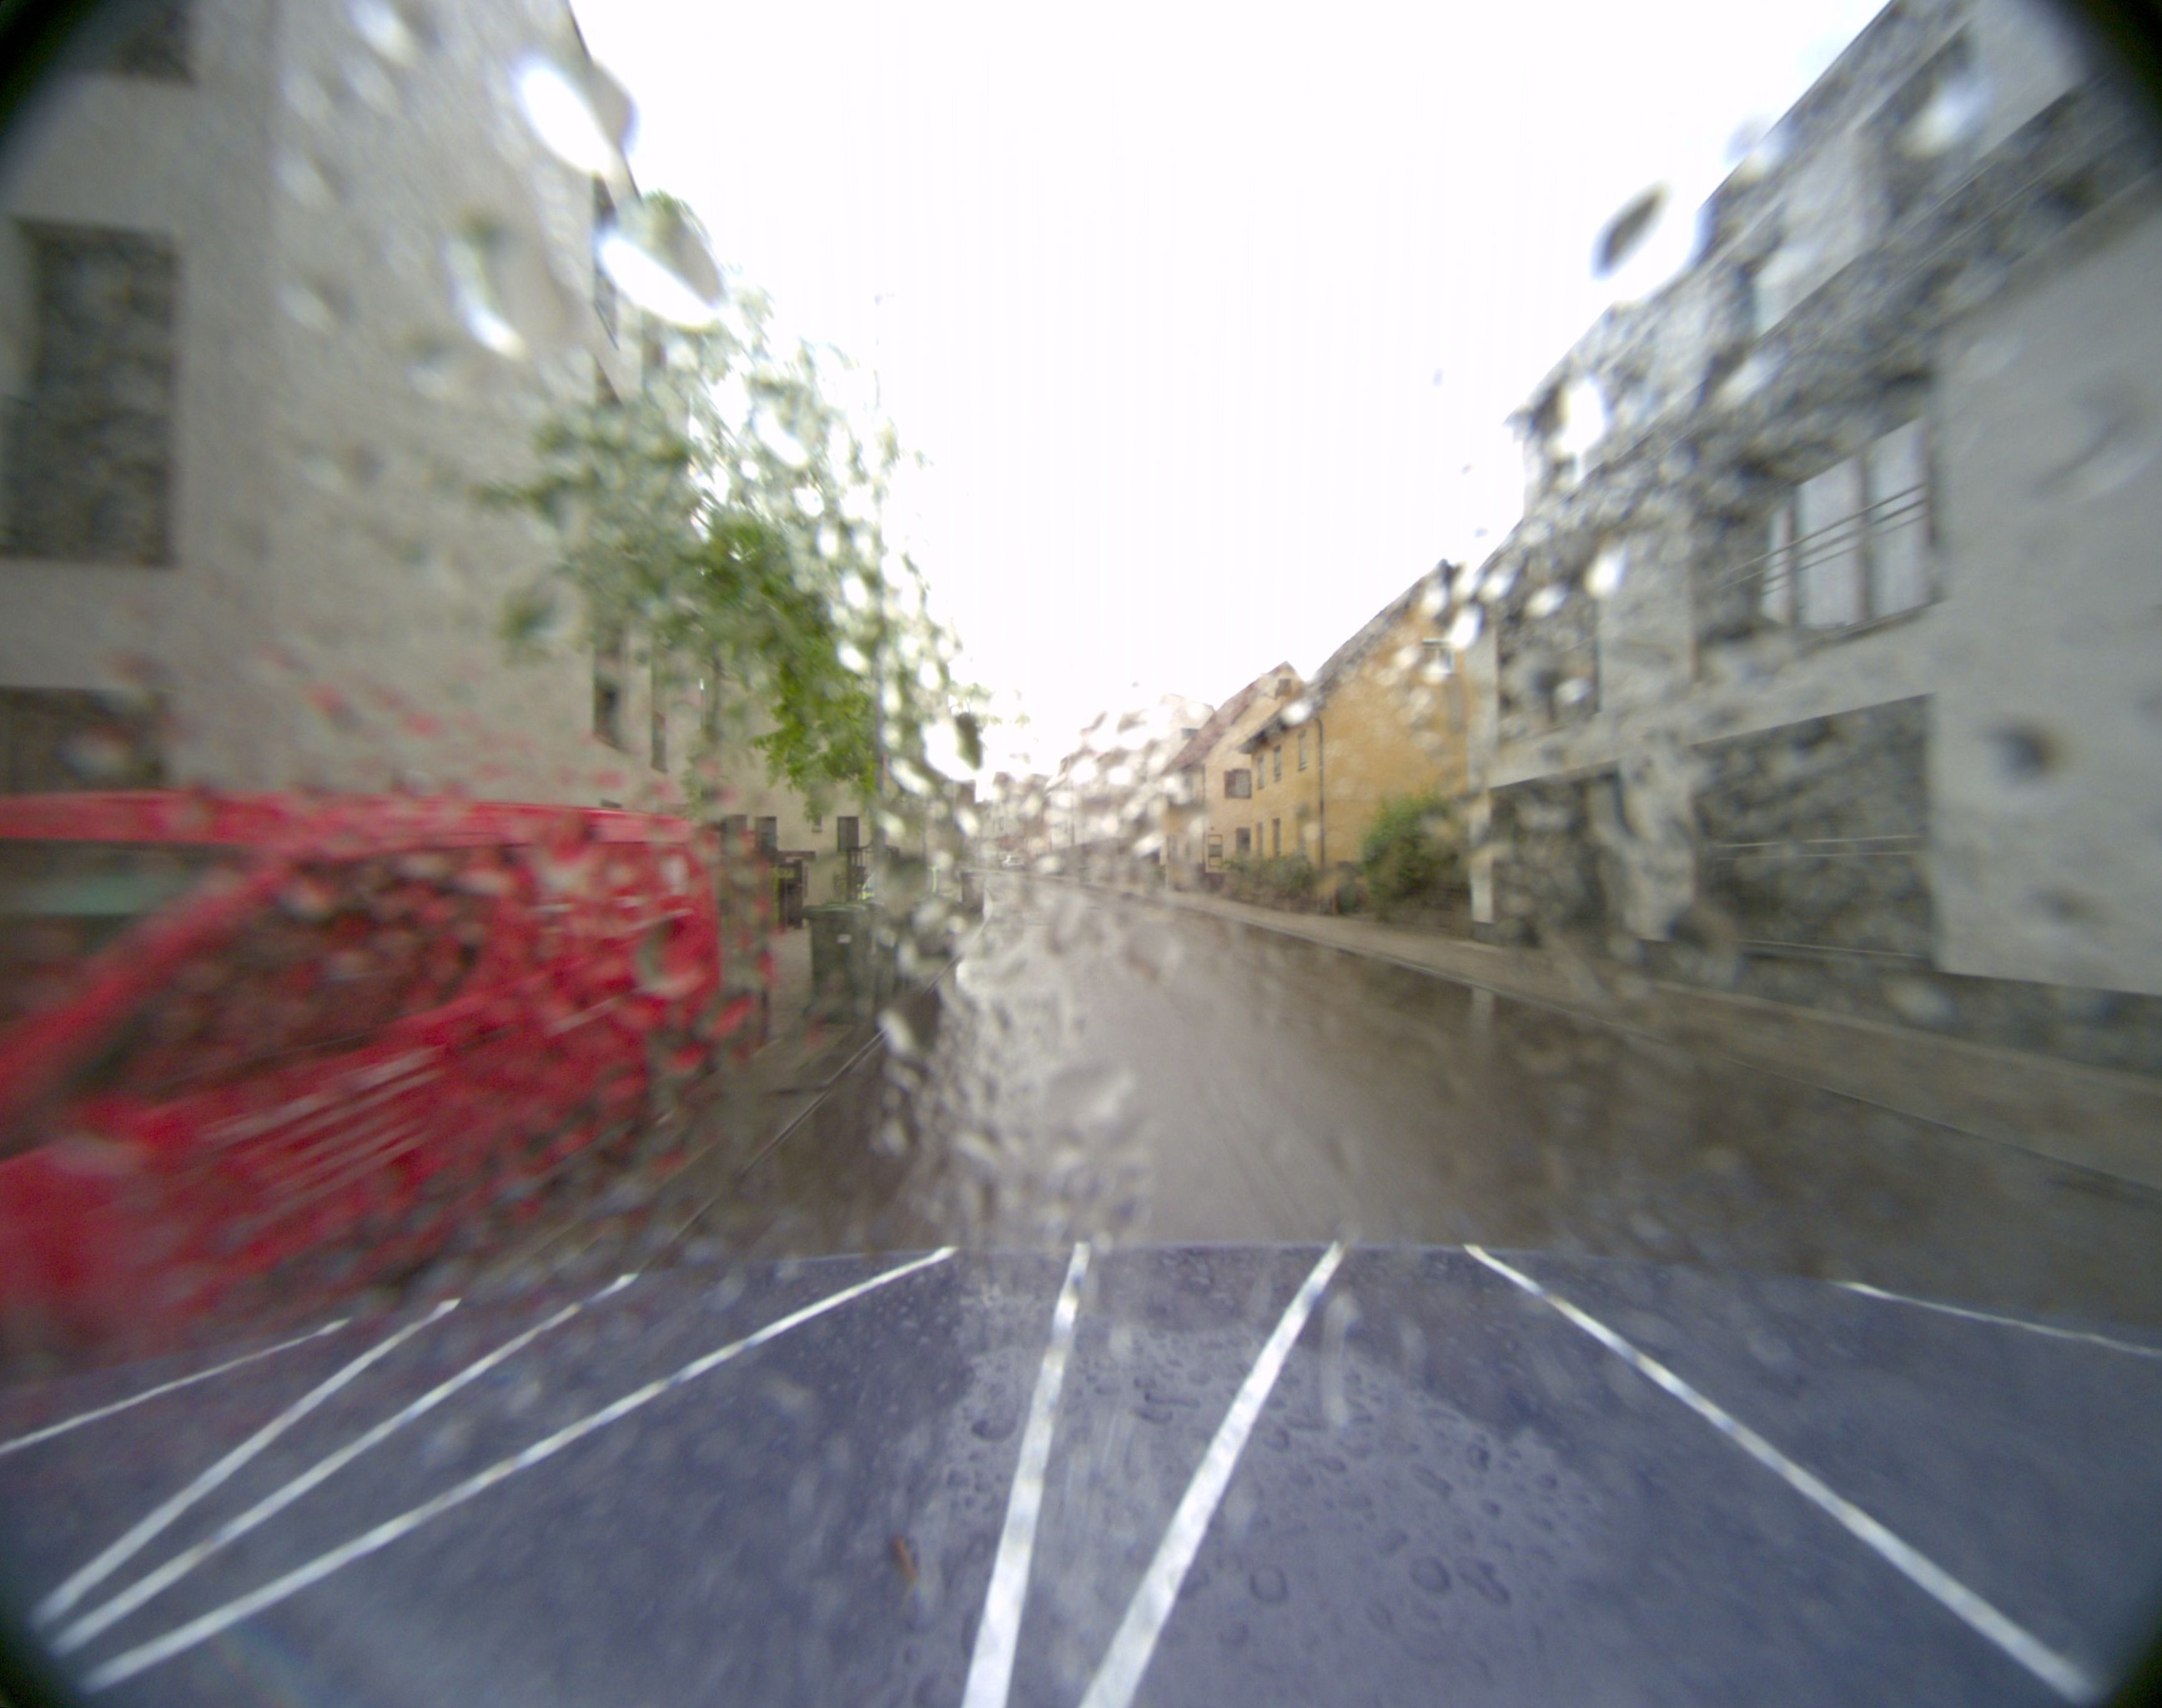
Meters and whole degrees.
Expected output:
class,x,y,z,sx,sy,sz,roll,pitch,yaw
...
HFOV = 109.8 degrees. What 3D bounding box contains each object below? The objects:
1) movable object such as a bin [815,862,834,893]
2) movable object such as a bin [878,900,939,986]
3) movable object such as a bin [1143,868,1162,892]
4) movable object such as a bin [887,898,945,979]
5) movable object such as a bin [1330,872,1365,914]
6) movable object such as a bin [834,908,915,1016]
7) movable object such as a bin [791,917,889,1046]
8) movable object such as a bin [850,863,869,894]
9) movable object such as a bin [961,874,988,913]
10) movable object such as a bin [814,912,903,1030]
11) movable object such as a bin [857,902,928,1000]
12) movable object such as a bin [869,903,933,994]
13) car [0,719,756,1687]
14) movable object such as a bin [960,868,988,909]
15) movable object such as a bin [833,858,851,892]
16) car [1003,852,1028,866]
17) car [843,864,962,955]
class,x,y,z,sx,sy,sz,roll,pitch,yaw
movable object such as a bin,-9.412,0.859,27.854,0.586,1.102,0.719,2,1,-21
movable object such as a bin,-2.295,1.169,10.166,0.711,1.081,0.601,0,0,-3
movable object such as a bin,3.207,1.156,33.988,0.715,1.053,0.575,-2,1,-5
movable object such as a bin,-2.326,1.184,10.785,0.711,1.081,0.601,0,0,-3
movable object such as a bin,7.289,1.061,20.811,0.659,1.102,0.721,2,1,2
movable object such as a bin,-2.213,1.142,8.190,0.711,1.081,0.601,0,0,-1
movable object such as a bin,-2.195,1.148,6.974,0.711,1.081,0.601,0,0,-1
movable object such as a bin,-8.288,0.913,28.364,0.586,1.102,0.719,2,1,-21
movable object such as a bin,-3.270,1.203,23.360,0.763,1.102,0.809,2,1,-5
movable object such as a bin,-2.204,1.144,7.588,0.711,1.081,0.601,0,0,-1
movable object such as a bin,-2.227,1.132,9.030,0.711,1.081,0.601,0,0,-3
movable object such as a bin,-2.262,1.180,9.597,0.704,1.081,0.515,0,0,-4
car,-3.013,0.661,2.516,1.840,1.896,4.604,1,1,1
movable object such as a bin,-3.442,1.102,24.592,0.797,1.241,1.243,2,1,-5
movable object such as a bin,-8.850,0.772,28.119,0.586,1.178,0.719,2,1,-21
car,-7.105,0.545,81.917,2.001,1.437,3.994,-2,1,-14
car,-3.436,1.001,15.251,1.642,1.516,3.633,0,1,-2
